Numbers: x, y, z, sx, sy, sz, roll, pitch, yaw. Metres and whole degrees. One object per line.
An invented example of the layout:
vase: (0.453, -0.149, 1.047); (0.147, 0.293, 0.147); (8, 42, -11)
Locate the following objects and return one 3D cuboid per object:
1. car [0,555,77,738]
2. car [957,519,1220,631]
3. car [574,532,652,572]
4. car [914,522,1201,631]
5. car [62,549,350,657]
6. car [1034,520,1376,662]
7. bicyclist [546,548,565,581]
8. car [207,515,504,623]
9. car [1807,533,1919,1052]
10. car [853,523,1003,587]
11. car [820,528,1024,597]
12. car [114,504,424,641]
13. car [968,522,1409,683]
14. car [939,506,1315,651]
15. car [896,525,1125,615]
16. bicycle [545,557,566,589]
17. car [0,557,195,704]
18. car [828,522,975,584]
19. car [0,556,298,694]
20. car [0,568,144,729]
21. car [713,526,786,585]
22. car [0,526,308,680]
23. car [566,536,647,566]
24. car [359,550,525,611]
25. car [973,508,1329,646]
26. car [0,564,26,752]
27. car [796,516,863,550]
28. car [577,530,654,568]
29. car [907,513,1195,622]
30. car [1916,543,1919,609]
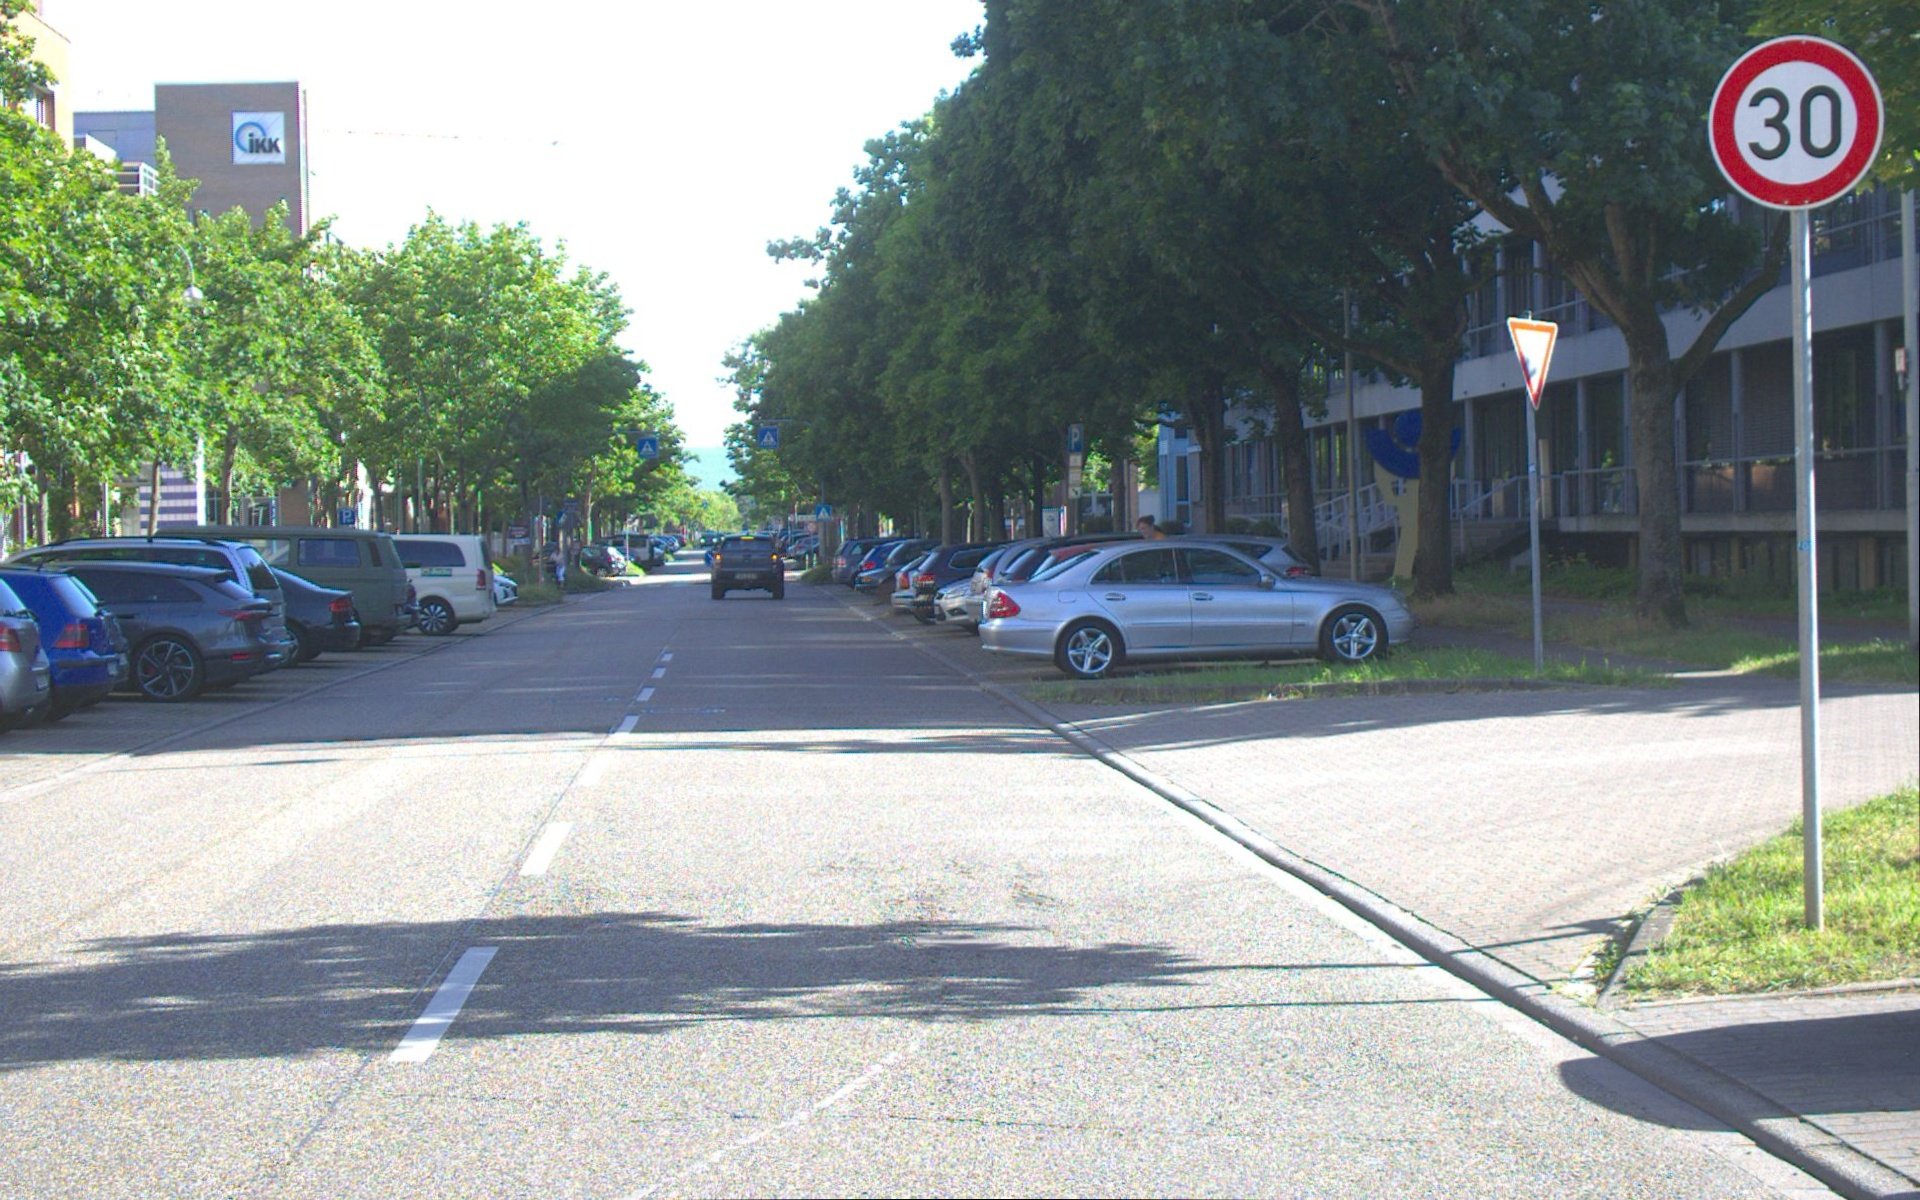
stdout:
car: (-9.598, 0.365, 29.319); (3.725, 1.503, 1.860); (0, 1, -4)
car: (1.941, -0.394, 52.624); (3.742, 1.488, 1.617); (-3, 1, -7)
car: (-19.014, -2.635, 188.431); (3.987, 2.007, 2.000); (-2, 1, 1)
car: (1.530, -0.393, 55.028); (4.284, 1.488, 2.004); (-3, 1, -6)
car: (-10.177, 0.035, 46.620); (3.725, 1.422, 1.725); (0, 1, -9)
car: (2.839, -0.119, 40.558); (3.837, 1.442, 1.922); (-3, 1, 1)
bicyclist: (-13.945, -1.223, 118.510); (0.532, 1.087, 0.794); (-2, 1, -1)
car: (-11.230, -0.587, 64.098); (5.257, 1.960, 1.943); (0, 1, -3)
car: (4.746, 0.435, 10.093); (3.947, 1.509, 1.702); (-4, 0, -9)
car: (-0.888, -1.234, 93.074); (3.949, 1.509, 1.813); (-3, 1, -2)
car: (-0.964, -0.934, 84.686); (4.824, 1.415, 2.032); (-3, 1, -5)
car: (-10.830, -0.444, 54.096); (4.488, 2.082, 2.083); (0, 1, -1)
car: (2.451, 0.007, 37.595); (4.577, 1.470, 1.747); (-3, 1, -2)
car: (2.045, -0.280, 42.893); (4.515, 1.537, 1.922); (-3, 1, 1)
car: (0.908, -0.551, 62.883); (3.969, 1.415, 1.711); (-3, 1, -5)
bicycle: (-13.938, -0.932, 118.525); (0.532, 1.068, 1.300); (-2, 1, -1)
car: (-9.689, 0.283, 34.463); (3.725, 1.422, 1.773); (0, 1, -4)
car: (-1.841, -1.481, 107.336); (4.350, 1.698, 1.813); (-3, 1, -6)
car: (-9.412, 0.252, 36.835); (4.402, 1.422, 1.773); (0, 1, -5)
car: (-9.558, 0.419, 31.665); (3.725, 1.422, 1.841); (0, 1, -4)
car: (-5.948, -1.266, 97.087); (1.993, 1.634, 4.001); (0, 1, -4)
car: (-9.809, 0.011, 39.463); (4.320, 1.711, 1.963); (0, 1, -2)
car: (-17.177, -2.383, 167.005); (3.847, 1.468, 1.813); (0, 1, -9)
car: (-13.003, -0.509, 86.486); (3.986, 1.481, 1.807); (-1, 1, -4)
car: (2.501, -0.315, 45.268); (4.515, 1.537, 1.922); (-3, 1, 3)
car: (-9.319, 0.443, 26.763); (3.725, 1.442, 1.860); (0, 1, -7)
car: (-8.057, -4.134, 211.824); (3.986, 2.007, 2.000); (-2, 1, -5)
car: (-19.171, -2.847, 191.492); (3.987, 2.007, 2.000); (-2, 1, 1)
car: (1.489, -0.551, 57.369); (4.590, 1.488, 1.763); (-4, 1, -3)
car: (4.683, 0.466, 7.425); (4.548, 1.509, 1.983); (-4, 0, -9)
